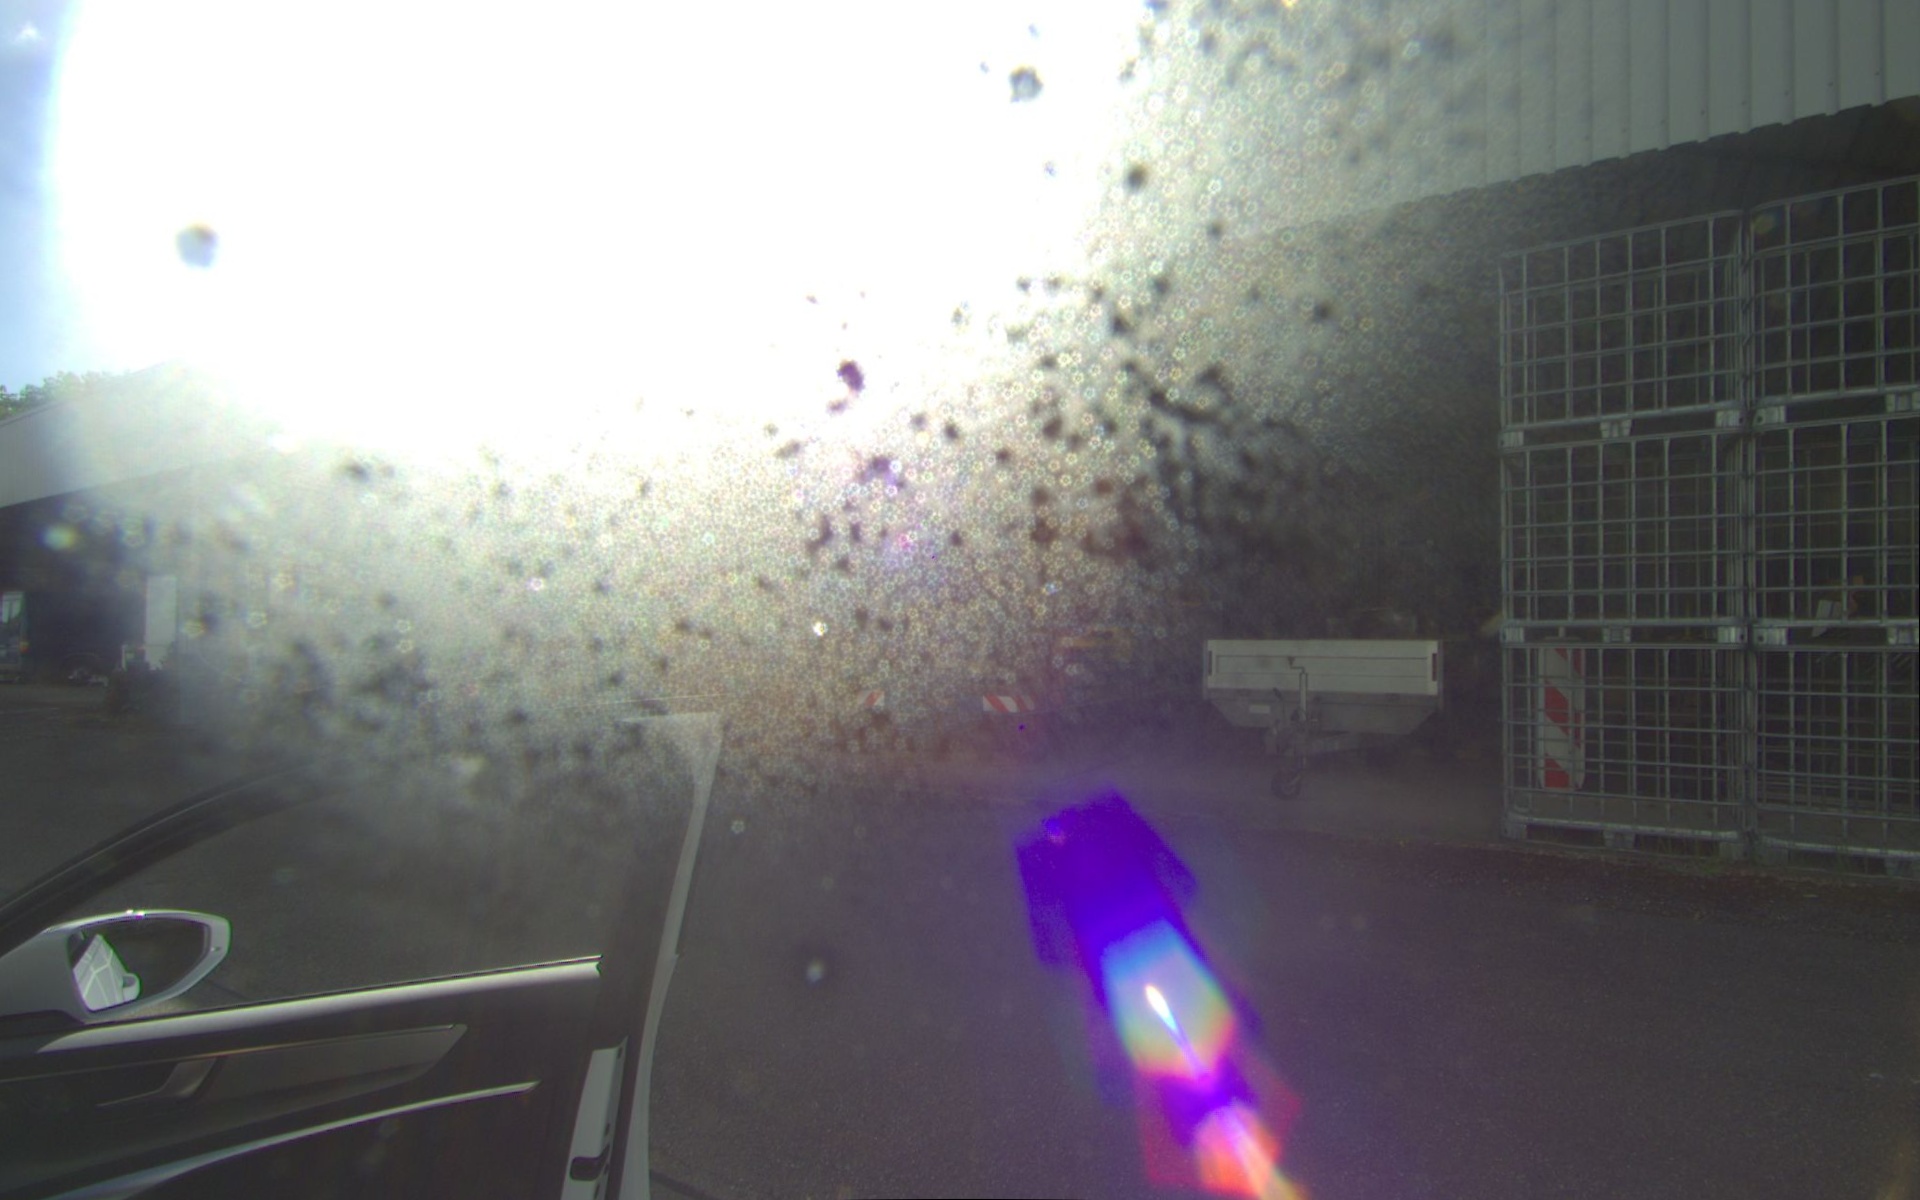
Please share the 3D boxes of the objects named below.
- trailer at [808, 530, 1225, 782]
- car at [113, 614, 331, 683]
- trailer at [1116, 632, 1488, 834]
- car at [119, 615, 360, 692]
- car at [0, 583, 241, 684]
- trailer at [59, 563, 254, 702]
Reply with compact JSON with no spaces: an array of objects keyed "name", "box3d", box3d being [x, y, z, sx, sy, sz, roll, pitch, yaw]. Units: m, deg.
[{"name":"trailer","box3d":[1.005,0.517,11.155,2.049,2.058,5.753,-1,-1,33]},{"name":"car","box3d":[-18.223,1.246,24.911,1.662,1.543,4.031,-3,-5,33]},{"name":"trailer","box3d":[3.497,0.911,9.175,2.110,1.148,5.839,-1,-1,30]},{"name":"car","box3d":[-15.885,1.220,22.295,1.662,1.543,4.031,-3,-5,33]},{"name":"car","box3d":[-21.376,0.931,25.640,1.890,2.337,4.425,-3,-4,33]},{"name":"trailer","box3d":[-15.269,0.627,19.095,1.703,2.429,2.518,-2,-2,33]}]
